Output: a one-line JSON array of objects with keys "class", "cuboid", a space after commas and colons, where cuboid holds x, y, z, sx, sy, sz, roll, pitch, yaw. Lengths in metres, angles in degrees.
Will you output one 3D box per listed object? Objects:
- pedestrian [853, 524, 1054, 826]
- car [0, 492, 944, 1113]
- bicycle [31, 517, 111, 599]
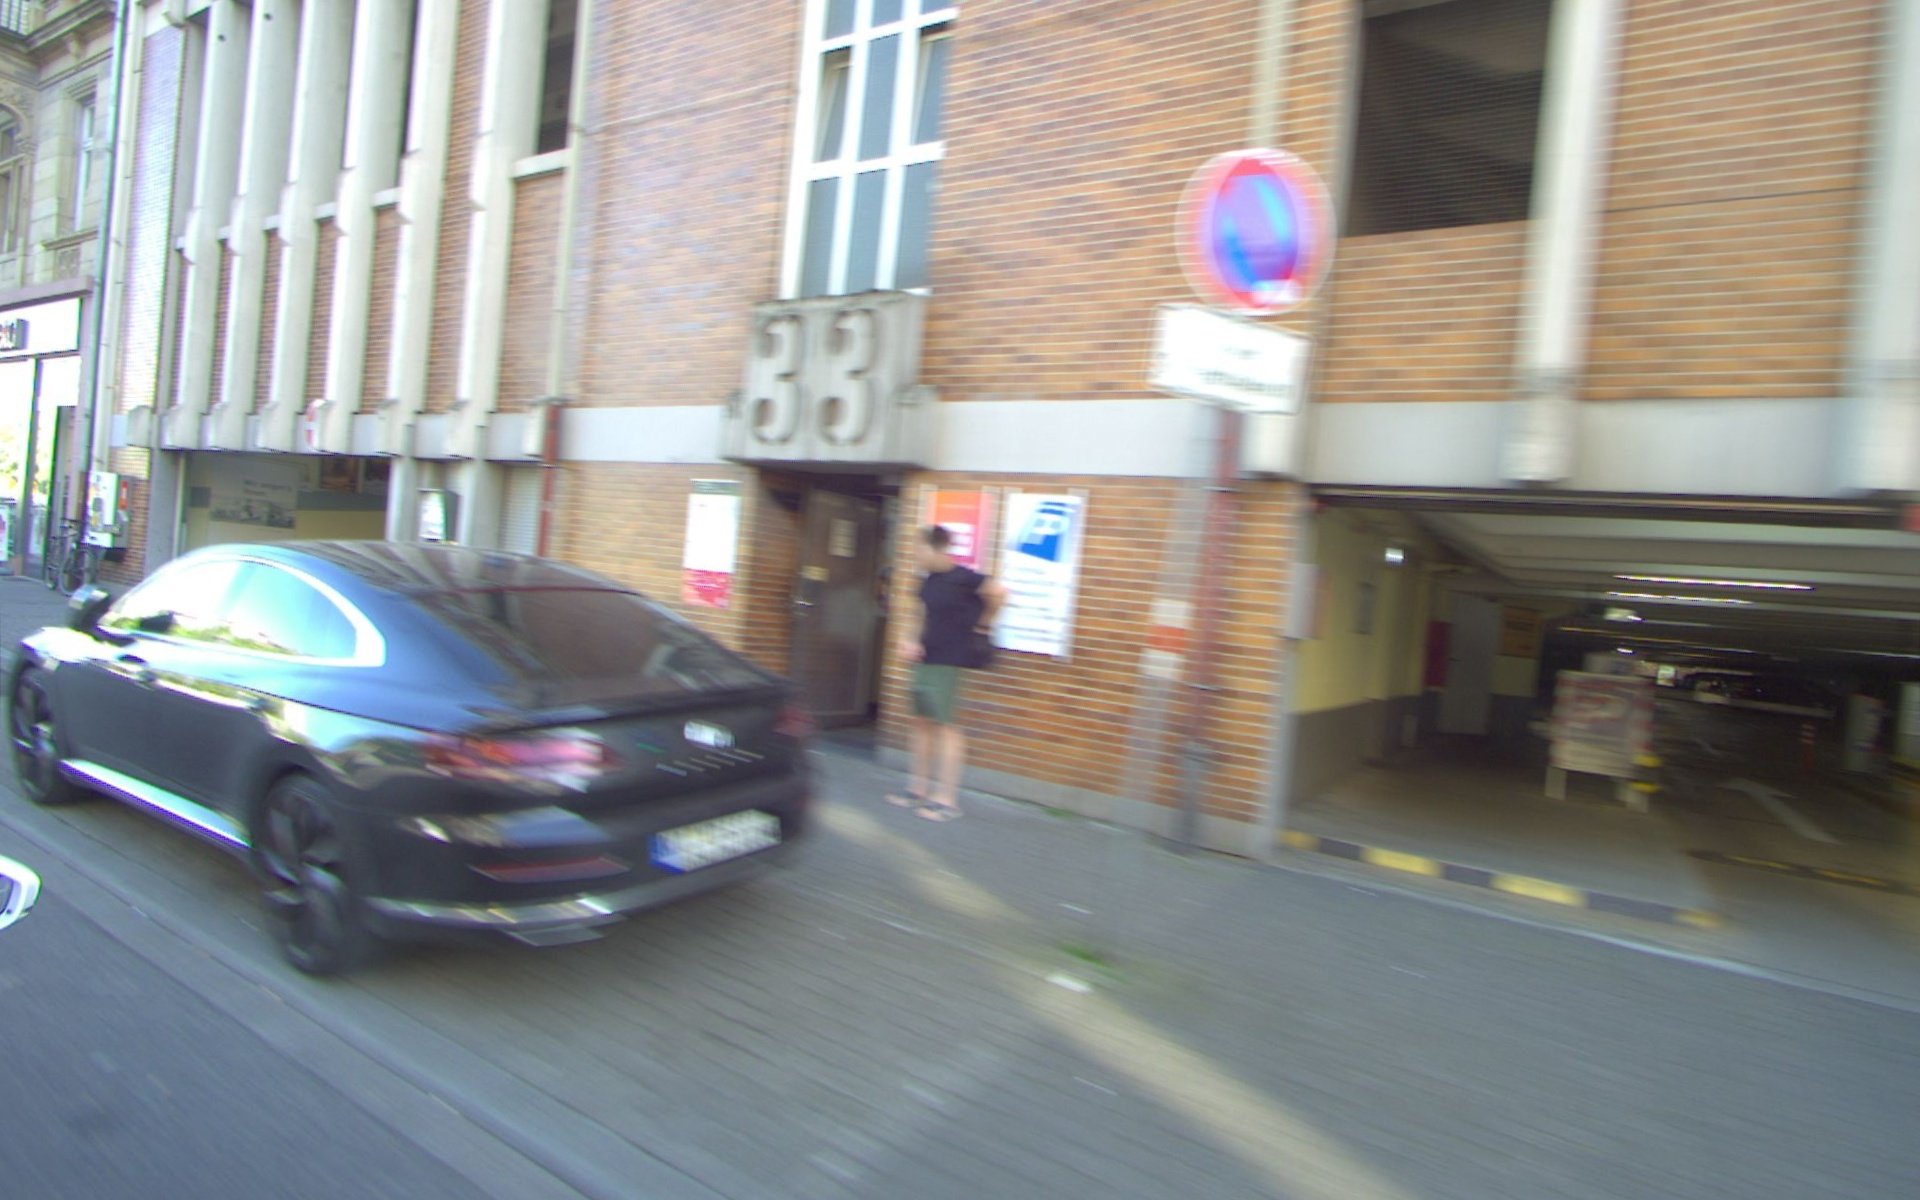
[{"class": "pedestrian", "cuboid": [-0.040, 0.412, 6.150, 0.874, 1.658, 0.691, 7, 4, 31]}, {"class": "car", "cuboid": [-2.668, 0.387, 4.734, 4.883, 1.500, 1.916, 6, 4, 32]}, {"class": "bicycle", "cuboid": [-12.961, -0.624, 14.650, 1.761, 1.059, 0.358, 6, 3, 32]}]
